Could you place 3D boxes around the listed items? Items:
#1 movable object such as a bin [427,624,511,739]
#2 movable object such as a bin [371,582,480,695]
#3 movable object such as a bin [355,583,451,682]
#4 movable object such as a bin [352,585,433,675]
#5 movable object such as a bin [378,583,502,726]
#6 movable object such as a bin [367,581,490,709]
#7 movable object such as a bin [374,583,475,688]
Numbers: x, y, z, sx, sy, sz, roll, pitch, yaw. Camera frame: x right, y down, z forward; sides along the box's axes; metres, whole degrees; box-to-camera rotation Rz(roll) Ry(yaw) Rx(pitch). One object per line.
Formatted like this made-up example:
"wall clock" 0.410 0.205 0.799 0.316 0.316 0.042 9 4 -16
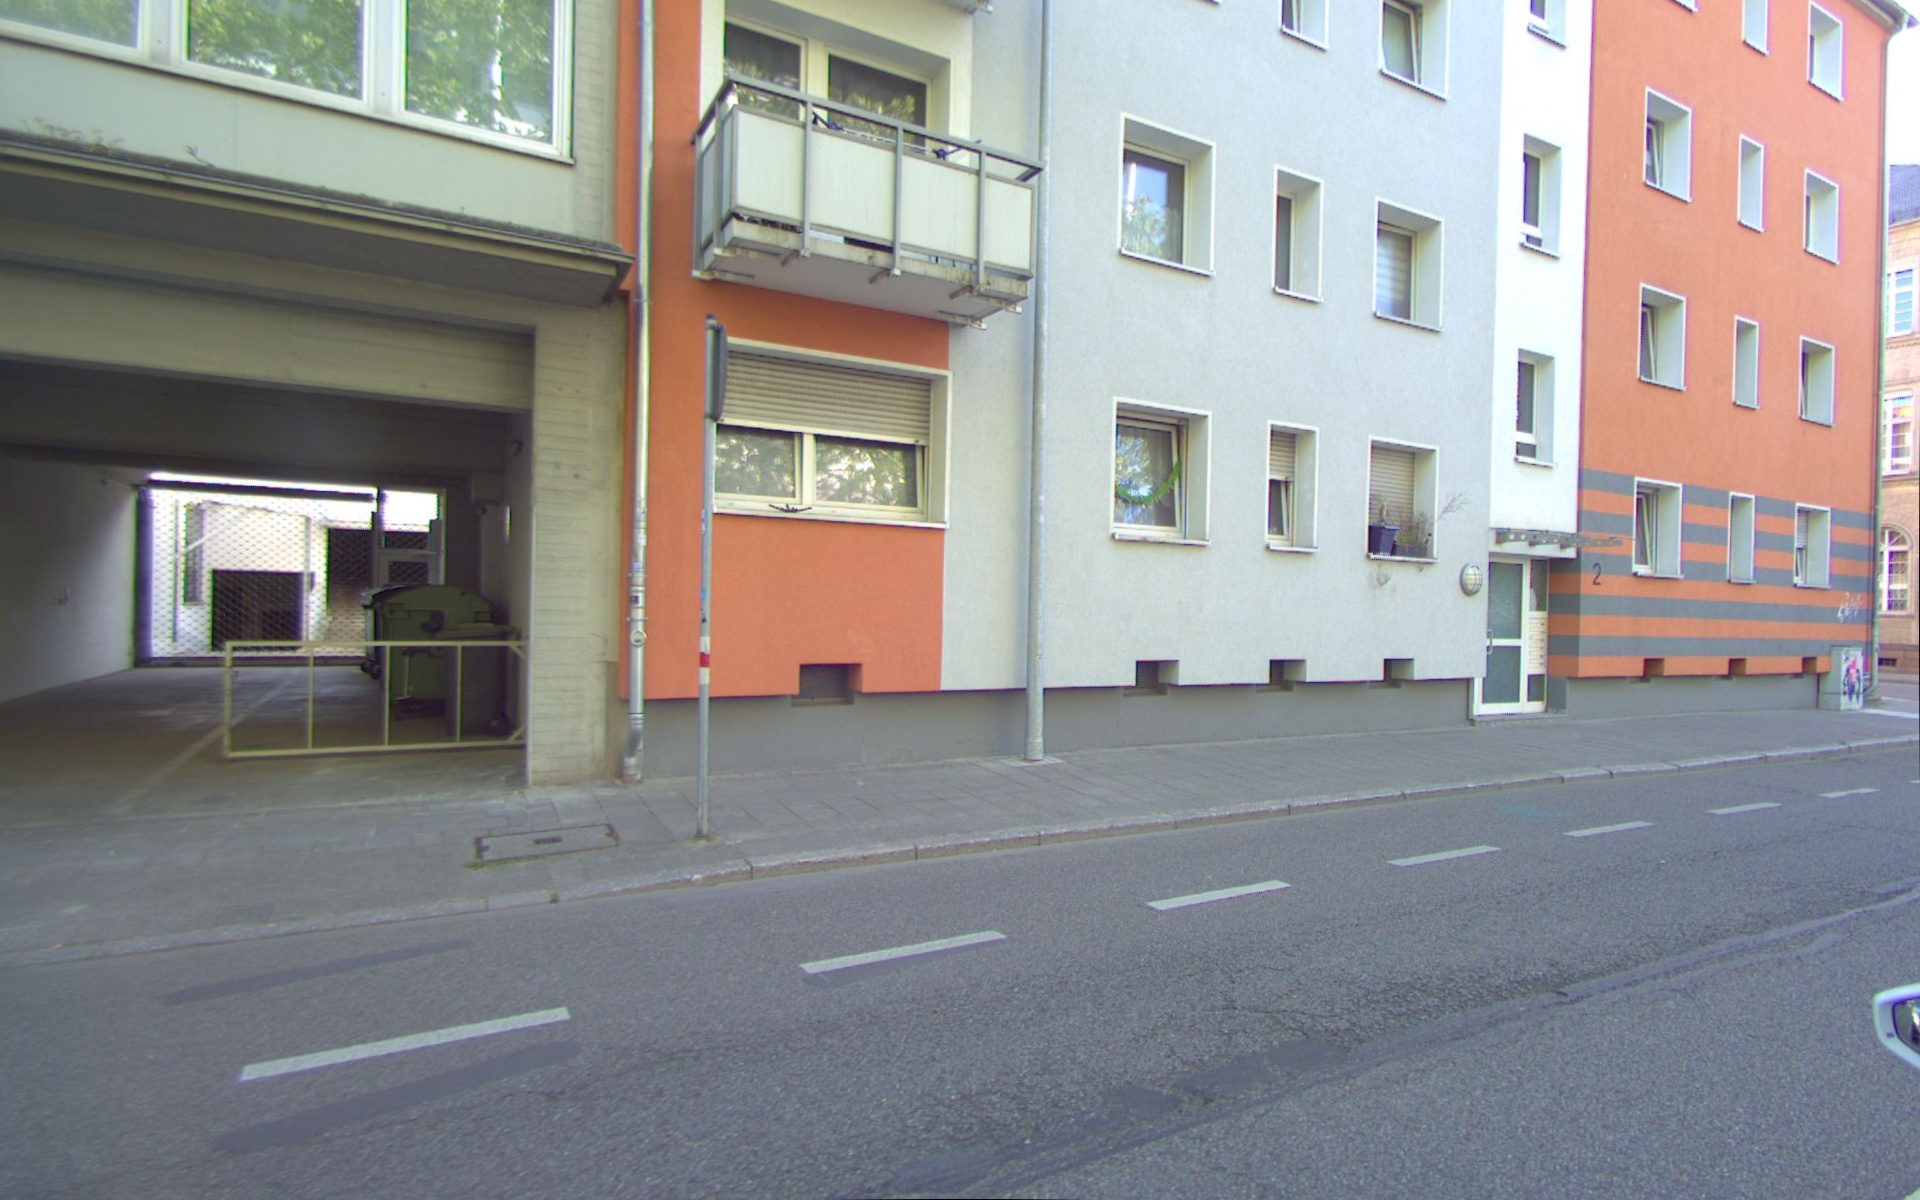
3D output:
"movable object such as a bin" -4.802 0.783 9.841 0.694 1.061 0.567 2 0 -27
"movable object such as a bin" -7.483 0.522 14.135 1.264 1.506 1.155 2 0 -27
"movable object such as a bin" -8.913 0.503 16.155 1.264 1.506 1.155 2 0 -27
"movable object such as a bin" -9.809 0.506 17.428 1.128 1.484 1.129 2 0 -27
"movable object such as a bin" -5.775 0.569 11.211 1.128 1.484 1.255 2 0 -27
"movable object such as a bin" -6.615 0.540 12.581 1.264 1.493 1.266 2 -1 -27
"movable object such as a bin" -8.066 0.517 15.195 1.264 1.515 1.155 2 0 -27
